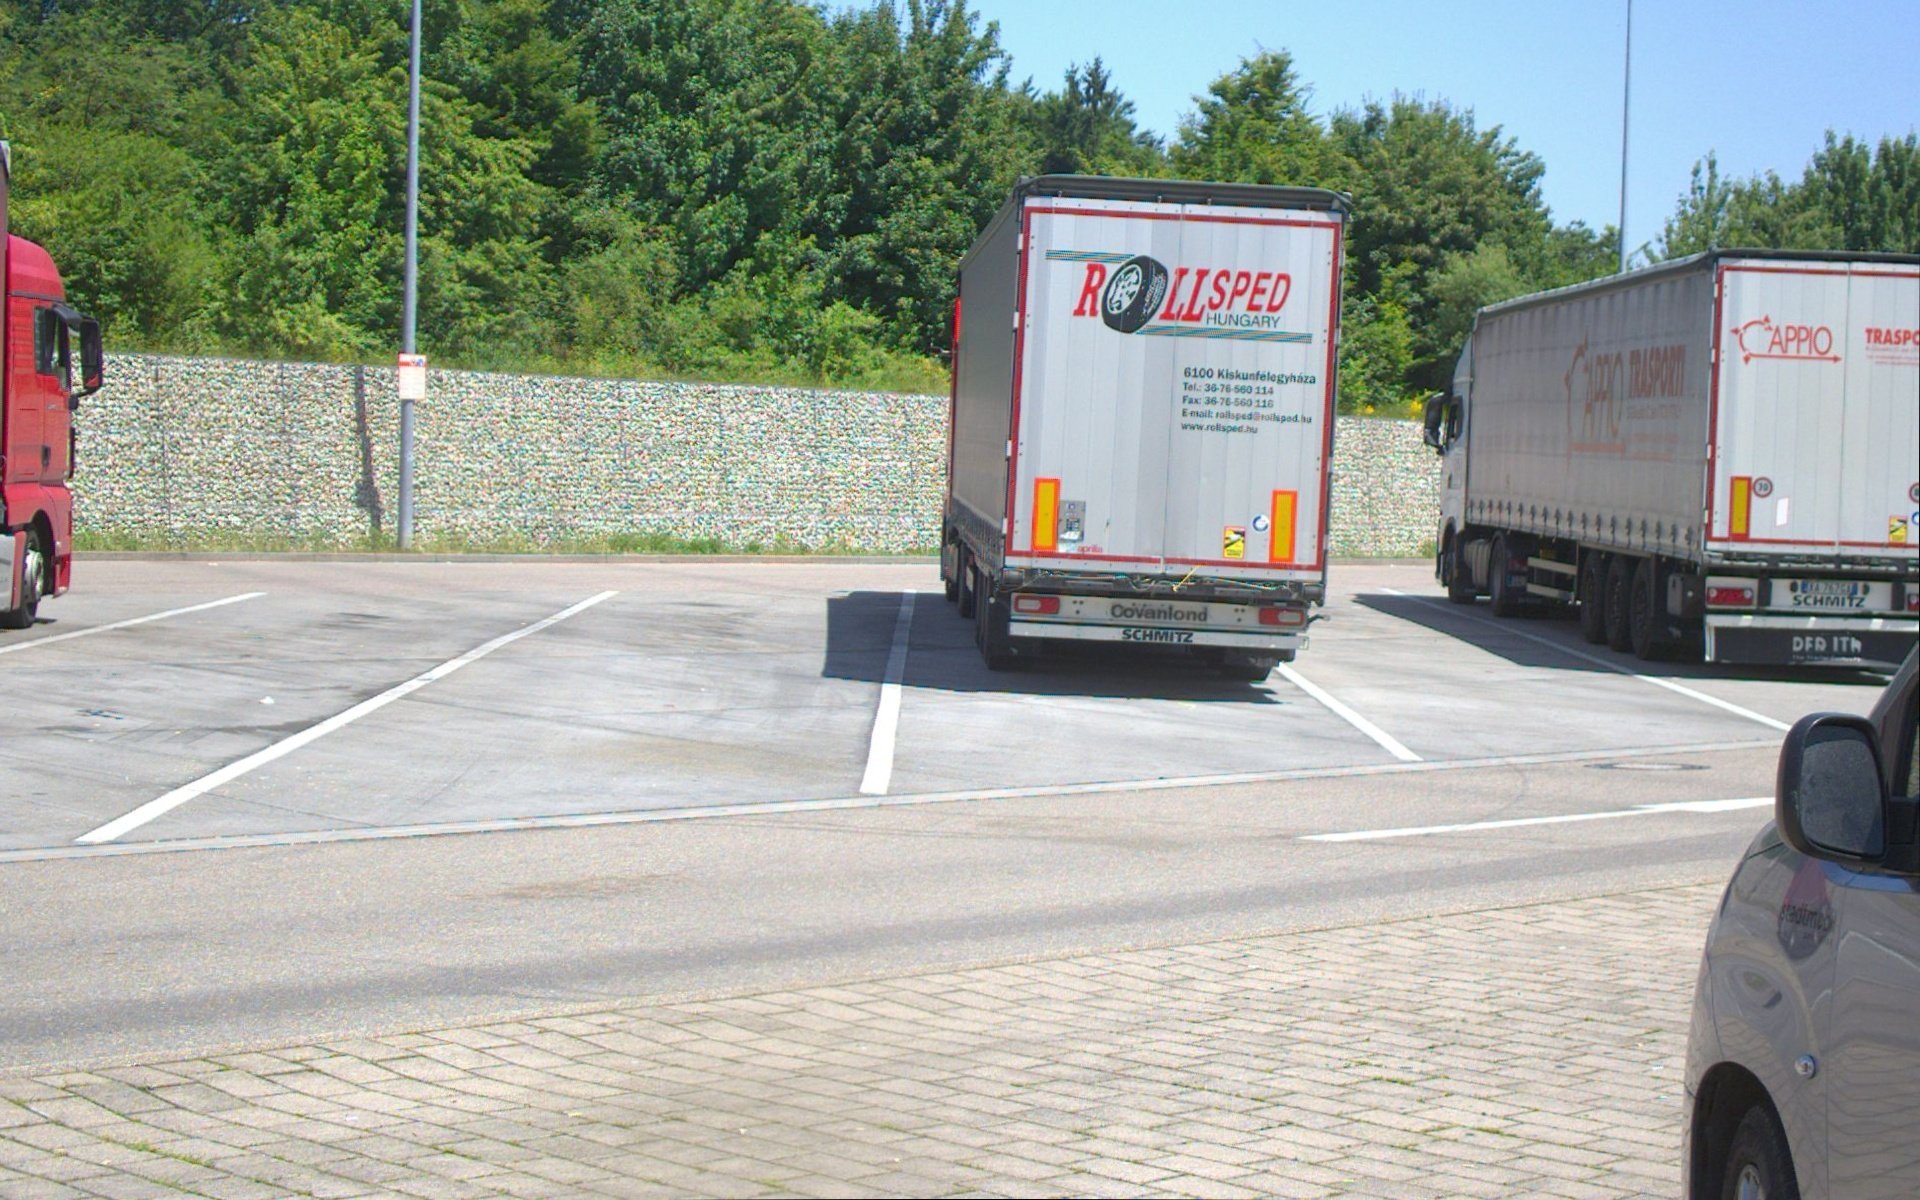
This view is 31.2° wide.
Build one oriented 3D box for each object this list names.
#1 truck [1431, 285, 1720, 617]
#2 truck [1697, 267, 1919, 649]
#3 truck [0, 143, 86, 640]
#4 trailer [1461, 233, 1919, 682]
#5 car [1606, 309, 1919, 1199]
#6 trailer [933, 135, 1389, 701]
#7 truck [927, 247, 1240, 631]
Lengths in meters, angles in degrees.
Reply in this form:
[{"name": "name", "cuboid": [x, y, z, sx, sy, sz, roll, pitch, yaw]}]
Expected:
[{"name": "truck", "cuboid": [8.026, -1.942, 45.476, 2.757, 4.110, 5.285, 1, 2, -1]}, {"name": "truck", "cuboid": [11.734, -1.572, 39.809, 2.904, 4.110, 14.528, 3, 2, -1]}, {"name": "truck", "cuboid": [-9.232, -1.705, 27.660, 2.743, 4.067, 6.830, 1, 2, -1]}, {"name": "trailer", "cuboid": [8.140, -1.541, 38.480, 2.876, 4.110, 13.572, 1, 2, -1]}, {"name": "car", "cuboid": [2.136, 0.539, 3.799, 1.825, 1.747, 4.001, 1, 2, -4]}, {"name": "trailer", "cuboid": [1.478, -1.700, 32.643, 3.069, 4.213, 12.810, 2, 3, -2]}, {"name": "truck", "cuboid": [1.263, -1.859, 39.411, 3.026, 3.915, 6.847, 2, 3, -2]}]
